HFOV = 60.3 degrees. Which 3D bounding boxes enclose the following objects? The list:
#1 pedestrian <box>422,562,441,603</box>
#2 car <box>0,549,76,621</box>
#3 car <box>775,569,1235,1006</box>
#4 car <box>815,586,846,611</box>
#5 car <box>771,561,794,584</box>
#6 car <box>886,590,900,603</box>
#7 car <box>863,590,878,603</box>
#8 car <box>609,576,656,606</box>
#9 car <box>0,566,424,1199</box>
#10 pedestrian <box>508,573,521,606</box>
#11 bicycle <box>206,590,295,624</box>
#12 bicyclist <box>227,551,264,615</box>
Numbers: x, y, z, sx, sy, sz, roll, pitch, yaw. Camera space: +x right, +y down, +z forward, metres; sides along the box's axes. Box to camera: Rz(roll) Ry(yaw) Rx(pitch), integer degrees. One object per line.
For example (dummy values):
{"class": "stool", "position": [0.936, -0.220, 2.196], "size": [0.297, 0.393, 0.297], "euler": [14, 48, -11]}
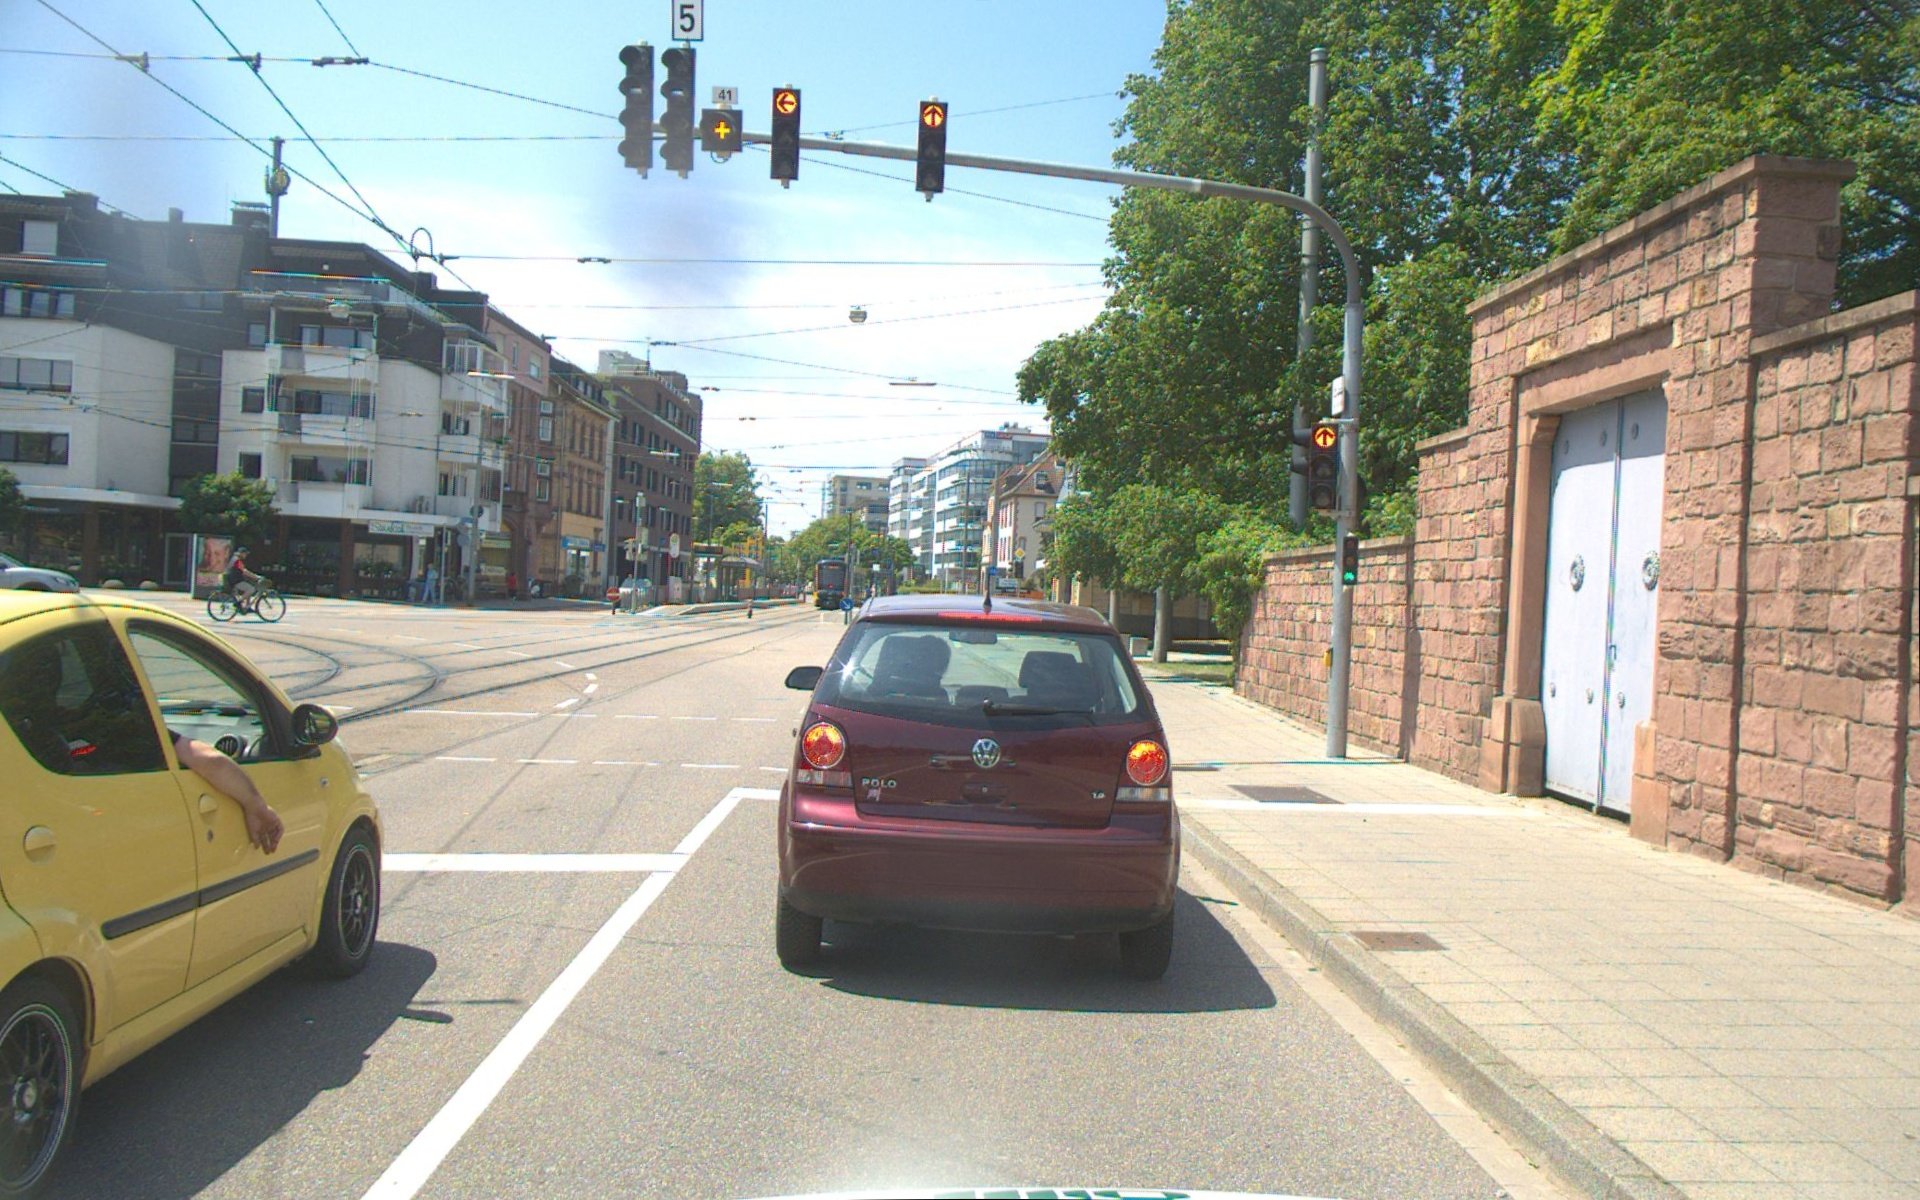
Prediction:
{"class": "pedestrian", "position": [-22.905, -0.758, 71.645], "size": [0.497, 1.785, 0.606], "euler": [0, -1, 45]}
{"class": "car", "position": [-22.568, -0.362, 37.850], "size": [4.092, 1.612, 1.921], "euler": [1, -1, -29]}
{"class": "car", "position": [0.098, 0.659, 7.912], "size": [1.578, 1.489, 4.084], "euler": [2, 0, -2]}
{"class": "car", "position": [-9.104, -0.068, 116.672], "size": [1.899, 1.670, 3.998], "euler": [1, -1, -2]}
{"class": "car", "position": [-16.491, -2.570, 153.867], "size": [1.700, 2.049, 3.999], "euler": [2, 0, -1]}
{"class": "car", "position": [-7.425, -0.435, 183.584], "size": [1.541, 1.440, 3.719], "euler": [0, 0, -2]}
{"class": "car", "position": [-11.163, -0.445, 206.001], "size": [1.744, 1.637, 4.149], "euler": [1, 1, -3]}
{"class": "car", "position": [-17.537, -0.492, 88.644], "size": [1.654, 1.488, 4.000], "euler": [2, 0, 0]}
{"class": "car", "position": [-2.950, 0.634, 4.939], "size": [1.688, 1.470, 3.292], "euler": [1, 1, -2]}
{"class": "pedestrian", "position": [-21.549, -0.489, 79.981], "size": [0.474, 1.568, 0.538], "euler": [1, -1, -4]}
{"class": "bicycle", "position": [-17.417, 0.182, 40.631], "size": [1.961, 0.797, 0.461], "euler": [1, -1, -33]}
{"class": "bicyclist", "position": [-17.515, -0.412, 40.524], "size": [0.743, 1.527, 0.476], "euler": [2, -1, -32]}
